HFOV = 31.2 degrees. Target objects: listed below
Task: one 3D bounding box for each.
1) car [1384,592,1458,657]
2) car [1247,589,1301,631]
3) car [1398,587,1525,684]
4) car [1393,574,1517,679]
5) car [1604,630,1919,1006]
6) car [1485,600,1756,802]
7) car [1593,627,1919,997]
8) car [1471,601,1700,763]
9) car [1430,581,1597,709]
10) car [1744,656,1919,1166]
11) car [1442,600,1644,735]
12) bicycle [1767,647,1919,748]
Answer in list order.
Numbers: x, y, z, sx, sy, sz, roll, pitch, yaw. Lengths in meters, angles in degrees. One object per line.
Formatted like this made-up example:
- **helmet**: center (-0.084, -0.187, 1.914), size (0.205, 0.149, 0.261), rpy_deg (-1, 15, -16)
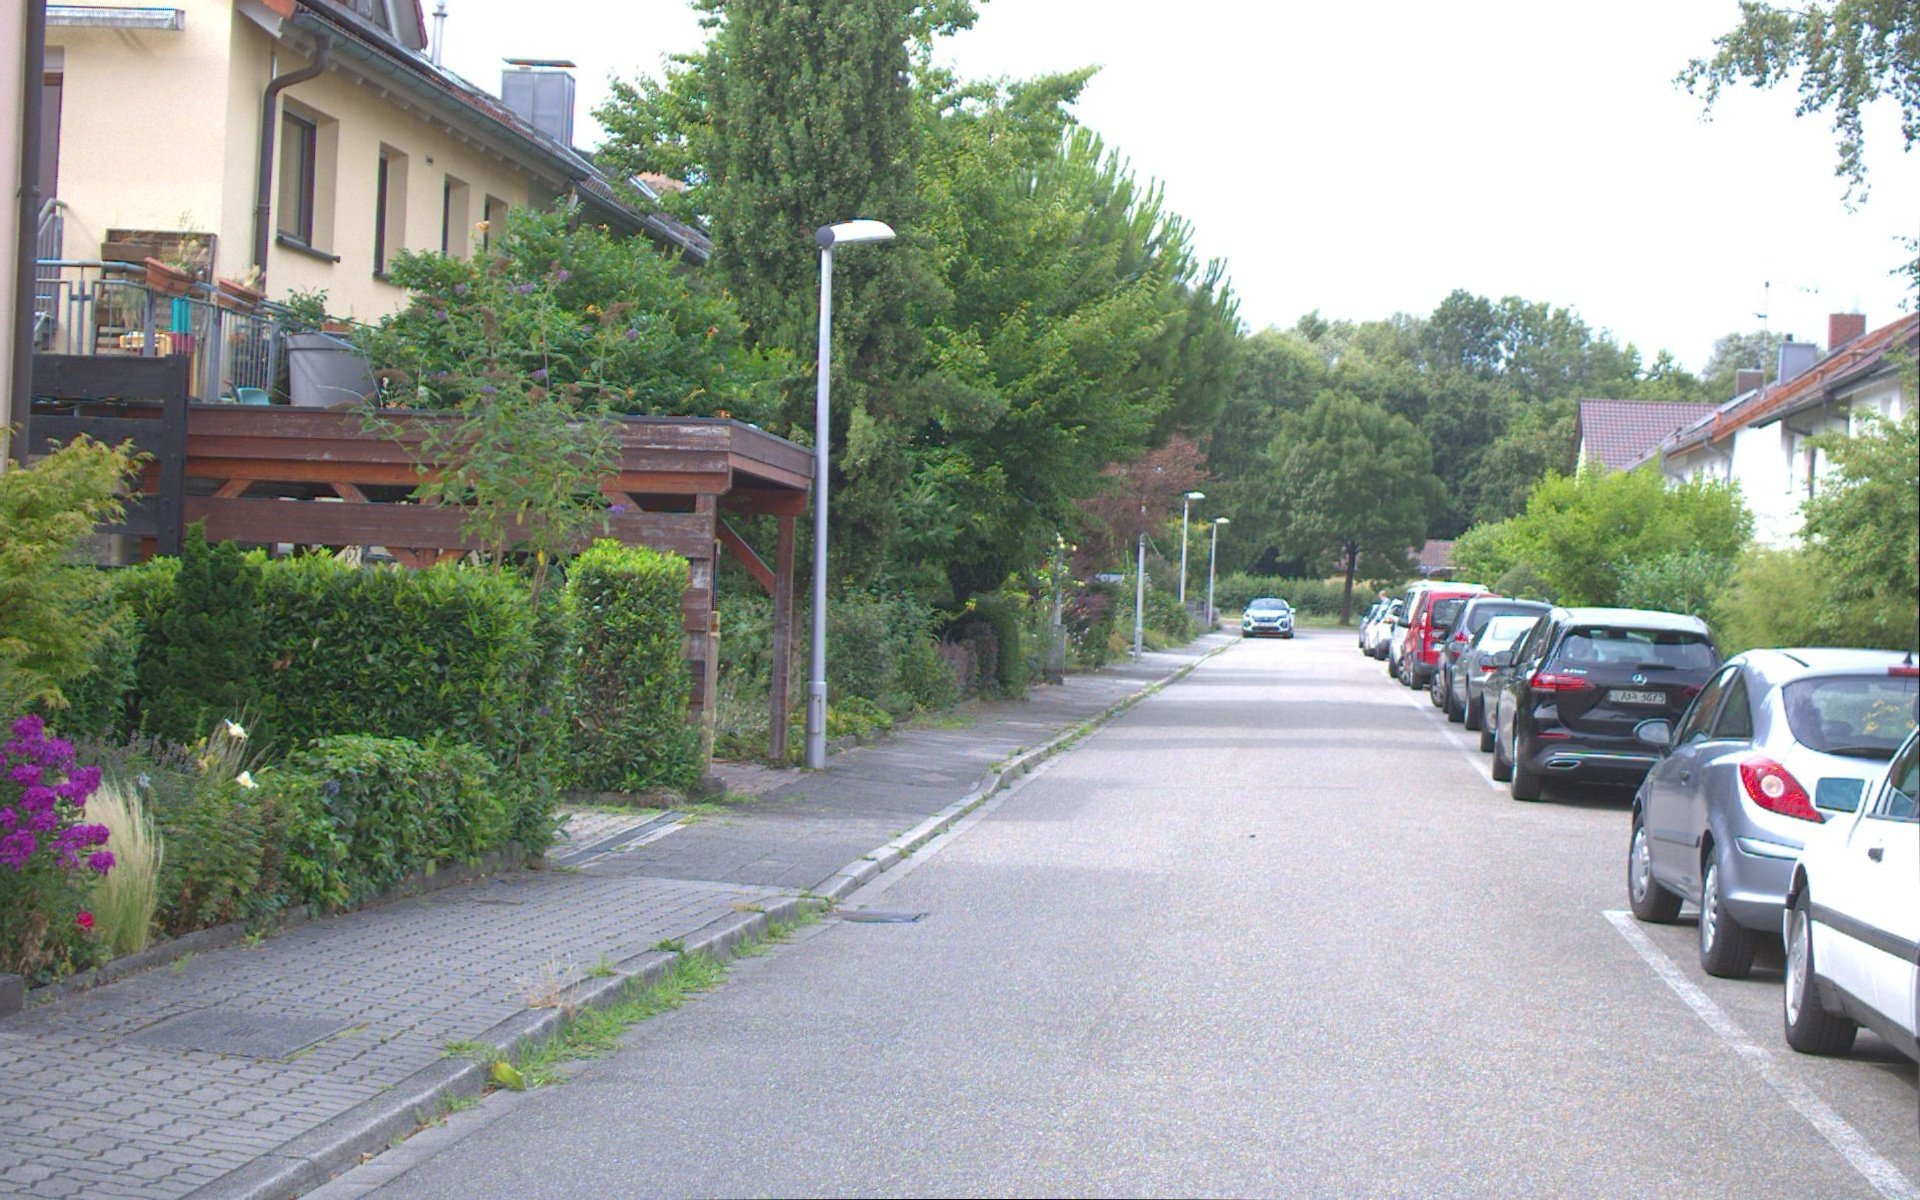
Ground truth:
- **car**: center (11.644, 0.602, 87.013), size (1.714, 1.538, 3.972), rpy_deg (2, 0, 6)
- **car**: center (12.099, 0.365, 132.208), size (1.934, 1.551, 4.633), rpy_deg (2, 0, 7)
- **car**: center (9.092, 0.617, 62.653), size (1.810, 1.645, 4.410), rpy_deg (2, 0, 3)
- **car**: center (9.690, 0.494, 67.616), size (2.021, 1.940, 4.747), rpy_deg (2, 0, 4)
- **car**: center (4.130, 0.939, 16.449), size (1.742, 1.465, 4.216), rpy_deg (2, 1, 7)
- **car**: center (5.426, 0.774, 28.723), size (1.749, 1.462, 4.647), rpy_deg (2, 0, 6)
- **car**: center (4.180, 0.930, 16.467), size (1.703, 1.437, 4.220), rpy_deg (4, 1, 4)
- **car**: center (6.178, 0.771, 34.331), size (1.733, 1.423, 4.125), rpy_deg (2, 0, 4)
- **car**: center (7.762, 0.594, 48.546), size (1.868, 1.648, 4.463), rpy_deg (2, 0, 4)
- **car**: center (3.690, 0.942, 10.894), size (1.693, 1.360, 4.697), rpy_deg (2, 0, 5)
- **car**: center (7.075, 0.782, 42.144), size (1.868, 1.402, 4.767), rpy_deg (4, 1, 4)
- **bicycle**: center (9.552, 1.054, 37.205), size (1.539, 1.019, 0.376), rpy_deg (2, 0, 12)
